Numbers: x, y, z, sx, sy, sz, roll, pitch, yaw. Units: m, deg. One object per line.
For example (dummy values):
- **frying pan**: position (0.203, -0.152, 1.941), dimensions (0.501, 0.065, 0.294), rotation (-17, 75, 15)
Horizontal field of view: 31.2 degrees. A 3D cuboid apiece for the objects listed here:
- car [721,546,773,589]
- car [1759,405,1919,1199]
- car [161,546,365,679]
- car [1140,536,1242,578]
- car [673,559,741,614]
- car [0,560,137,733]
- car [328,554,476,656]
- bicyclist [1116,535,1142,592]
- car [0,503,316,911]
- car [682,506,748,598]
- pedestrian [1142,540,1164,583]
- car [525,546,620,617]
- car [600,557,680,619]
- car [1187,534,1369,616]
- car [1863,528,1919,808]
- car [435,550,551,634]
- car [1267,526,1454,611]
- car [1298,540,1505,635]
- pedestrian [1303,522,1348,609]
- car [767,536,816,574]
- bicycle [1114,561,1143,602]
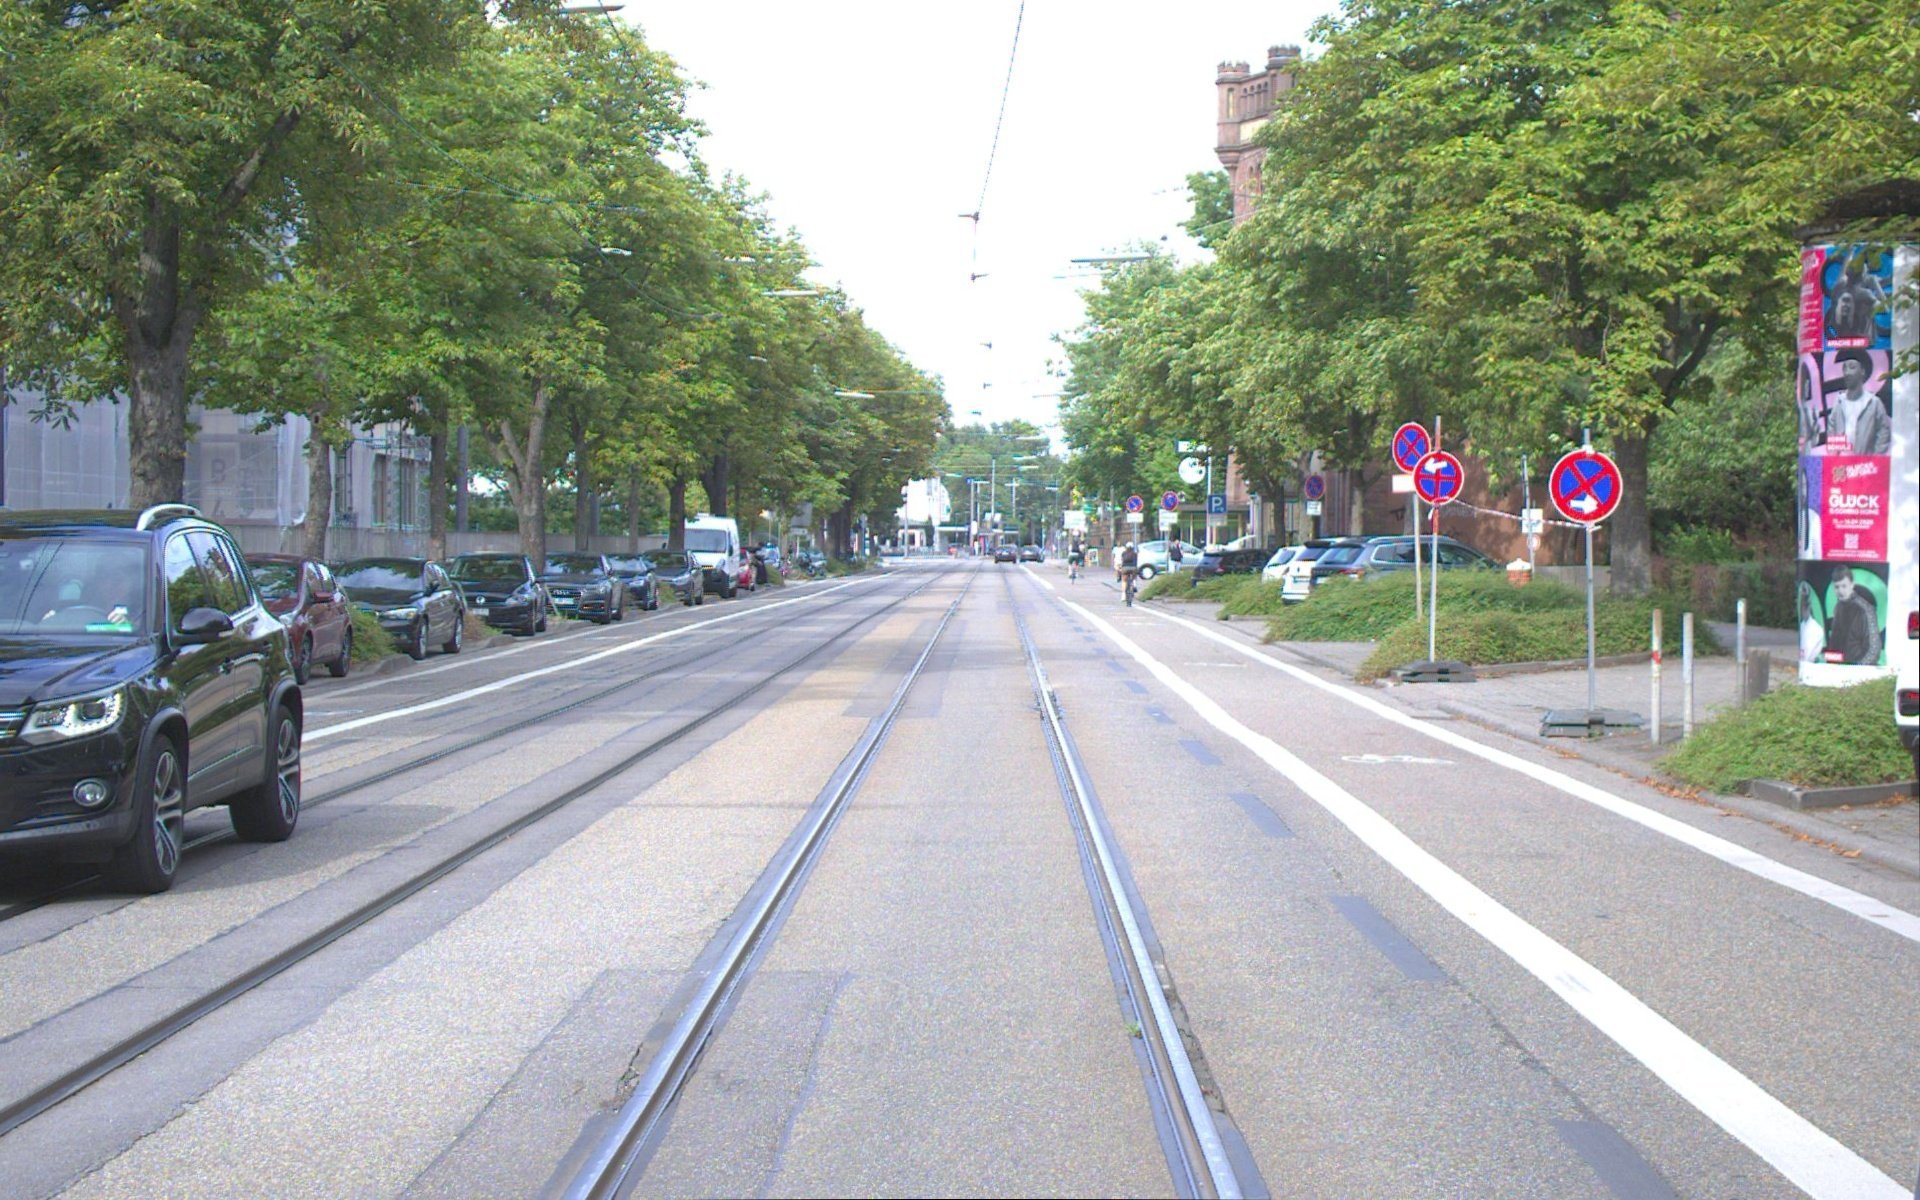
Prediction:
- **car**: position (-7.251, -1.126, 117.142), dimensions (1.590, 1.398, 3.963), rotation (1, 1, -1)
- **car**: position (2.318, 0.620, 3.203), dimensions (1.812, 1.695, 4.618), rotation (1, 1, -3)
- **car**: position (-8.275, 0.113, 41.090), dimensions (1.635, 1.491, 3.963), rotation (1, 1, 0)
- **car**: position (9.583, -1.777, 142.781), dimensions (3.986, 1.687, 2.000), rotation (1, 1, -5)
- **car**: position (-6.691, -0.372, 91.304), dimensions (1.590, 1.398, 3.963), rotation (1, 1, -1)
- **car**: position (-8.519, 0.362, 30.435), dimensions (1.590, 1.398, 3.963), rotation (1, 1, -1)
- **car**: position (-8.119, 0.046, 50.296), dimensions (1.590, 1.398, 3.963), rotation (1, 1, -1)
- **bicyclist**: position (4.355, -0.957, 88.693), dimensions (0.592, 1.454, 0.875), rotation (1, 1, -2)
- **car**: position (-4.265, 0.393, 15.917), dimensions (1.732, 1.623, 4.378), rotation (-1, 1, 0)
- **car**: position (-7.416, -1.452, 104.287), dimensions (1.720, 2.695, 5.471), rotation (1, 1, -1)
- **pedestrian**: position (8.007, -1.586, 142.729), dimensions (0.748, 1.783, 0.730), rotation (1, 0, 16)
- **car**: position (-7.961, -0.399, 70.898), dimensions (1.590, 1.398, 3.963), rotation (1, 1, -1)
- **car**: position (-7.530, -0.293, 81.116), dimensions (1.590, 1.398, 3.963), rotation (1, 1, -1)
- **car**: position (6.361, -0.501, 68.592), dimensions (3.637, 1.597, 1.681), rotation (0, 1, -45)
- **car**: position (7.119, 0.392, 20.599), dimensions (3.637, 1.597, 1.681), rotation (0, 1, -45)
- **car**: position (-8.201, -0.162, 60.602), dimensions (1.590, 1.398, 3.963), rotation (1, 1, -1)
- **car**: position (7.755, -0.598, 66.432), dimensions (3.637, 1.597, 1.681), rotation (0, 1, -45)
- **car**: position (7.675, -0.219, 59.637), dimensions (3.637, 1.597, 1.681), rotation (0, 1, -45)
- **pedestrian**: position (7.774, -0.734, 73.067), dimensions (0.786, 1.820, 0.661), rotation (1, 1, 21)
- **car**: position (-6.364, -1.718, 130.081), dimensions (1.590, 1.398, 3.550), rotation (1, 1, 1)
- **bicycle**: position (4.346, -0.480, 88.699), dimensions (0.592, 1.040, 1.978), rotation (1, 1, -2)
